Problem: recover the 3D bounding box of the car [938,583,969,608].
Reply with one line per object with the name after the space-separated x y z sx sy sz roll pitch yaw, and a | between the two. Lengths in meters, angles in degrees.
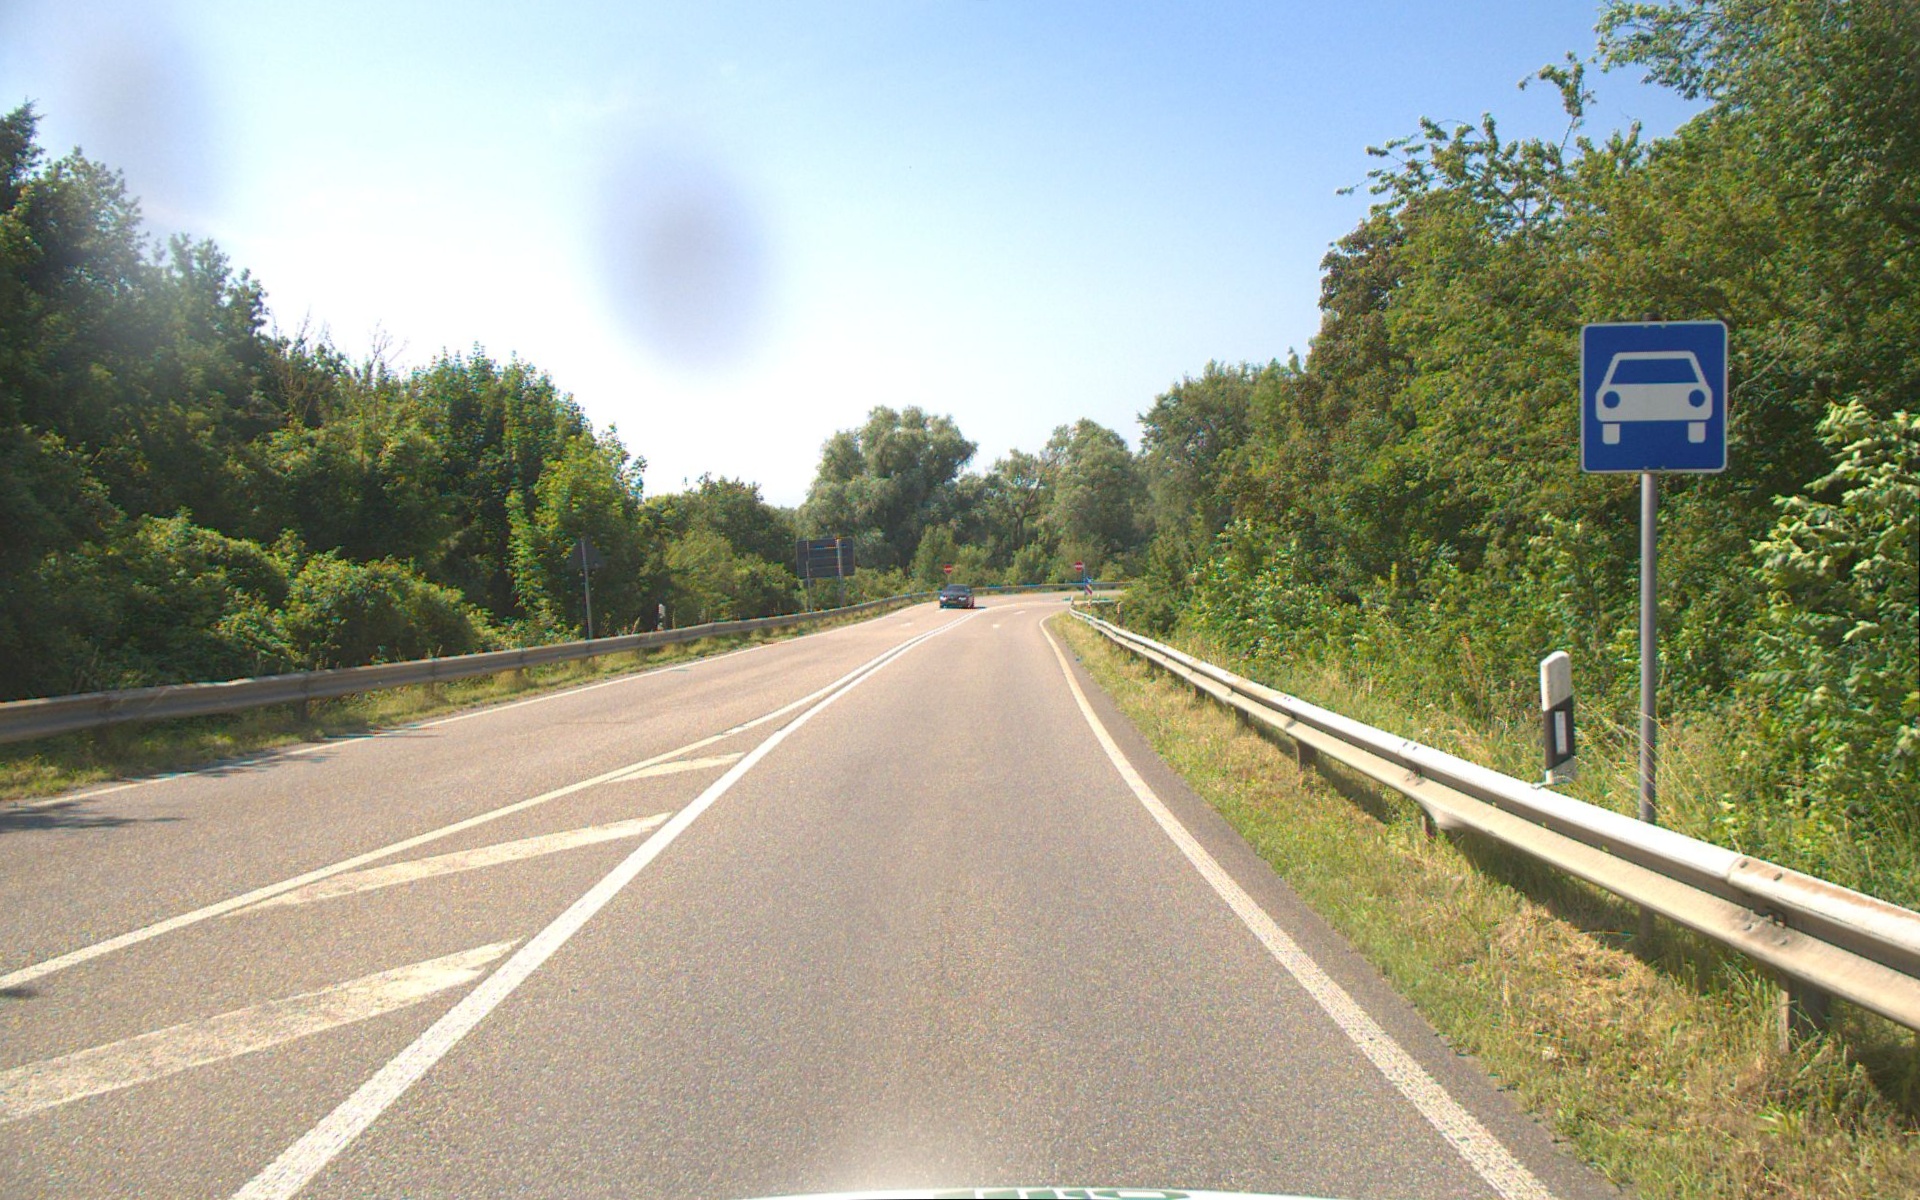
-0.380 -0.287 102.992 1.573 1.498 4.222 -1 0 4 | car
